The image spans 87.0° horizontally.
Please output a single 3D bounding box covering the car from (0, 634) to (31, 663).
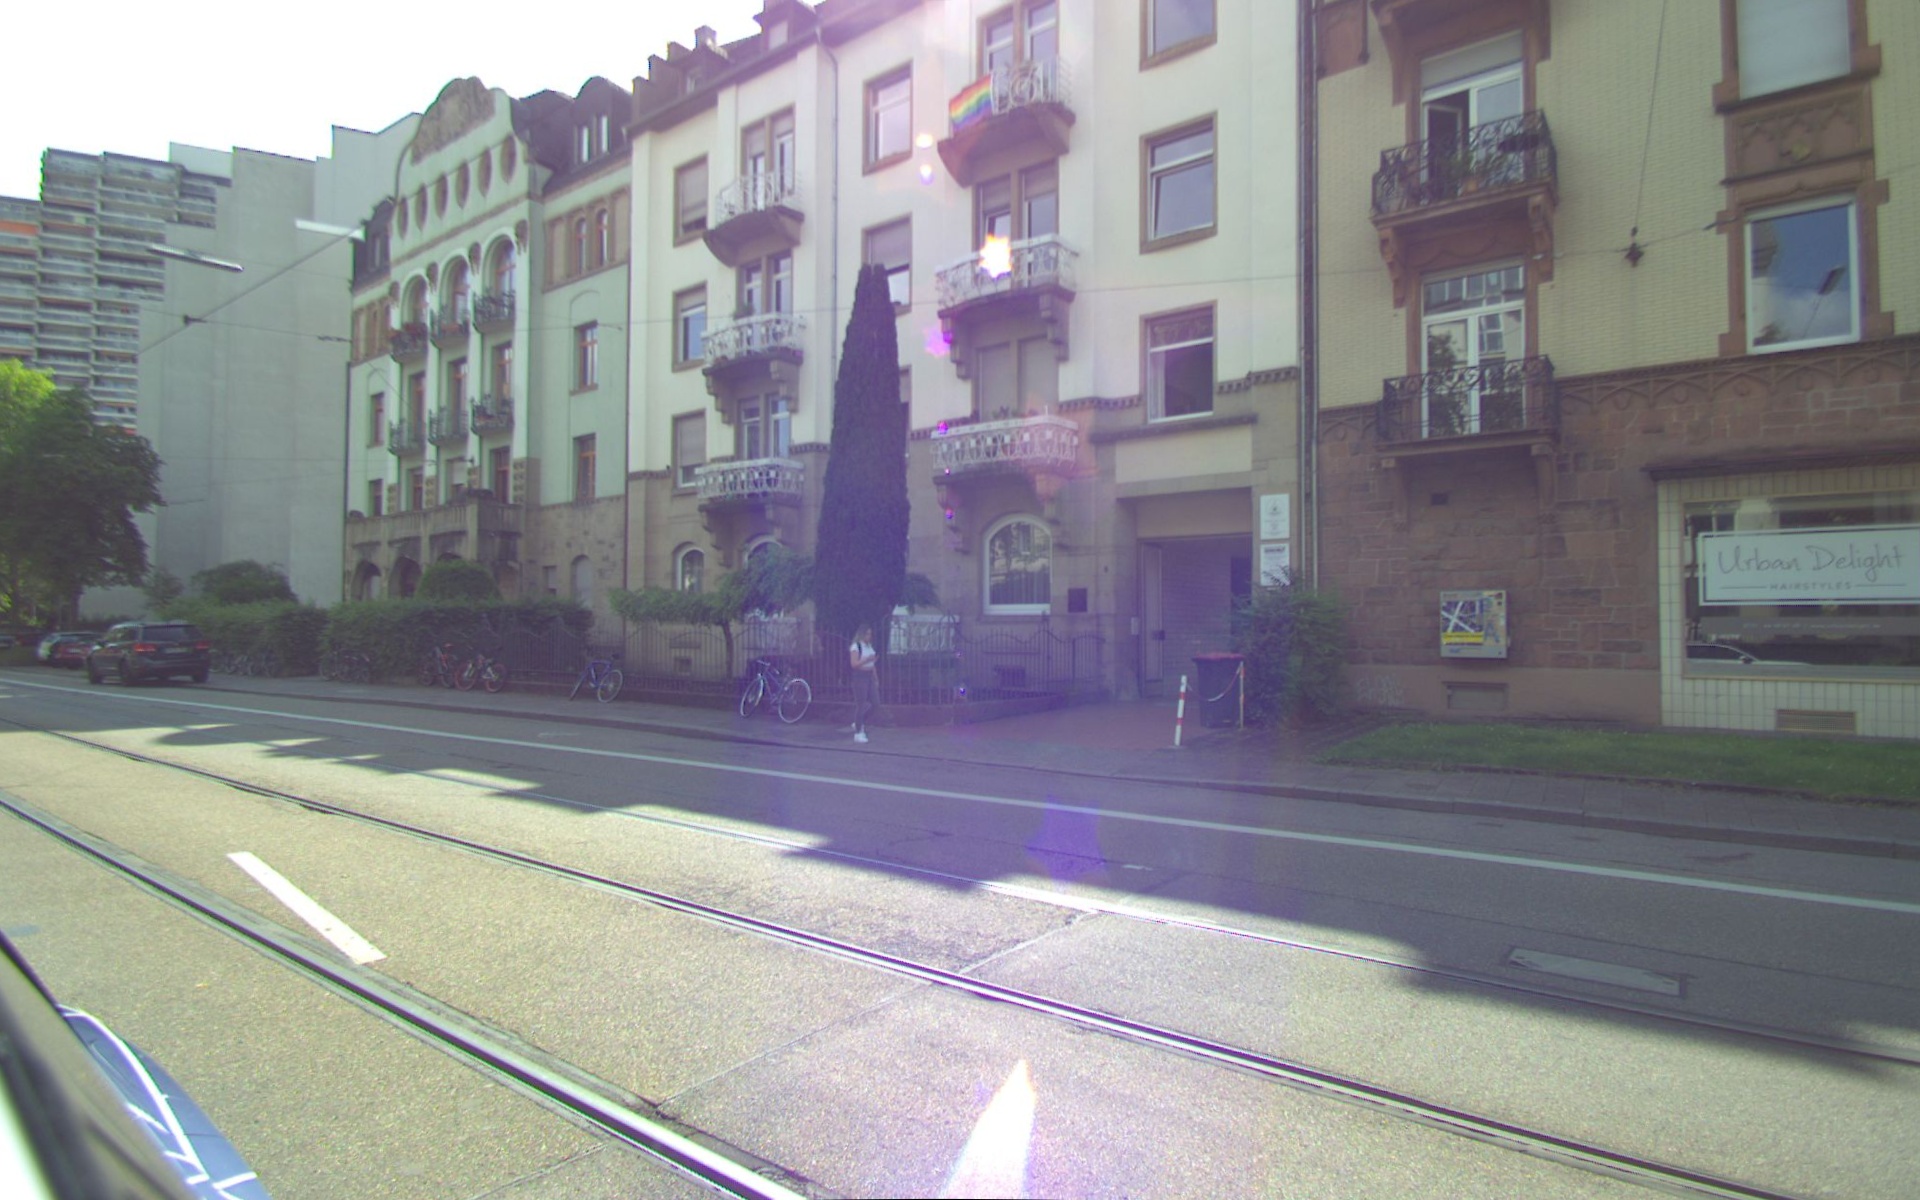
[{"bbox_3d":[-51.646,2.559,53.308,3.938,1.519,2.002,2,-3,-42],"label":"car"}]

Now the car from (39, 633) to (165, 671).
[{"bbox_3d":[-35.902,2.160,42.416,3.938,1.519,2.002,2,-3,-42],"label":"car"}]

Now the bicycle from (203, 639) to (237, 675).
[{"bbox_3d":[-24.008,1.844,32.819,1.785,1.144,0.462,-2,-3,40],"label":"bicycle"}]

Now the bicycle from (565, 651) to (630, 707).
[{"bbox_3d":[-6.993,1.499,19.488,0.461,1.003,1.788,2,-3,-45],"label":"bicycle"}]

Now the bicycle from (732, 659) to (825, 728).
[{"bbox_3d":[-2.922,1.463,16.185,0.461,1.003,1.980,2,-3,-43],"label":"bicycle"}]

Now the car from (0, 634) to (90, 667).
[{"bbox_3d":[-43.818,2.357,47.896,3.938,1.519,2.002,2,-3,-42],"label":"car"}]

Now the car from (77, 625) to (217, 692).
[{"bbox_3d":[-22.566,1.565,28.050,4.392,1.708,1.899,-1,-2,36],"label":"car"}]

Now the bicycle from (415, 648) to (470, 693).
[{"bbox_3d":[-11.994,1.613,23.450,1.785,1.003,0.462,-2,-3,40],"label":"bicycle"}]

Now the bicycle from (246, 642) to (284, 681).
[{"bbox_3d":[-20.829,1.827,30.326,1.785,1.144,0.462,-2,-3,40],"label":"bicycle"}]

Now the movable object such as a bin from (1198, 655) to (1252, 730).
[{"bbox_3d":[3.779,1.304,14.443,0.697,1.037,0.475,0,-2,11],"label":"movable object such as a bin"}]

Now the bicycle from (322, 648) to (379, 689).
[{"bbox_3d":[-15.467,1.718,25.663,1.979,1.003,0.597,-2,-3,40],"label":"bicycle"}]

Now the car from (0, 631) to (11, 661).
[{"bbox_3d":[-56.734,2.616,57.560,3.938,1.695,2.002,2,-3,-42],"label":"car"}]

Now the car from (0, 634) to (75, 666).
[{"bbox_3d":[-46.273,2.436,49.875,3.938,1.519,2.002,2,-3,-42],"label":"car"}]

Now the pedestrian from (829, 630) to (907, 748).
[{"bbox_3d":[-1.266,1.196,13.912,0.764,1.553,0.749,-2,-3,39],"label":"pedestrian"}]

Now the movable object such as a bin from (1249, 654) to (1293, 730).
[{"bbox_3d":[4.422,1.300,14.410,0.531,1.037,0.475,0,-2,11],"label":"movable object such as a bin"}]

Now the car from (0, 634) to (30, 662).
[{"bbox_3d":[-53.835,2.636,55.612,3.938,1.519,2.002,2,-3,-42],"label":"car"}]

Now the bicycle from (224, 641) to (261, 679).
[{"bbox_3d":[-22.354,1.847,31.528,1.785,1.144,0.462,-2,-3,40],"label":"bicycle"}]

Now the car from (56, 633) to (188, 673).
[{"bbox_3d":[-33.220,2.075,40.160,3.938,1.519,2.002,2,-3,-42],"label":"car"}]

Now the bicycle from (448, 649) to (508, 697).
[{"bbox_3d":[-10.578,1.576,22.186,1.785,1.003,0.462,-2,-3,40],"label":"bicycle"}]

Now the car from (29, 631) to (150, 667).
[{"bbox_3d":[-38.507,2.158,44.830,3.938,1.519,2.002,2,-3,-42],"label":"car"}]

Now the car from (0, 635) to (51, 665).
[{"bbox_3d":[-48.955,2.527,51.525,3.938,1.519,2.002,2,-3,-42],"label":"car"}]
